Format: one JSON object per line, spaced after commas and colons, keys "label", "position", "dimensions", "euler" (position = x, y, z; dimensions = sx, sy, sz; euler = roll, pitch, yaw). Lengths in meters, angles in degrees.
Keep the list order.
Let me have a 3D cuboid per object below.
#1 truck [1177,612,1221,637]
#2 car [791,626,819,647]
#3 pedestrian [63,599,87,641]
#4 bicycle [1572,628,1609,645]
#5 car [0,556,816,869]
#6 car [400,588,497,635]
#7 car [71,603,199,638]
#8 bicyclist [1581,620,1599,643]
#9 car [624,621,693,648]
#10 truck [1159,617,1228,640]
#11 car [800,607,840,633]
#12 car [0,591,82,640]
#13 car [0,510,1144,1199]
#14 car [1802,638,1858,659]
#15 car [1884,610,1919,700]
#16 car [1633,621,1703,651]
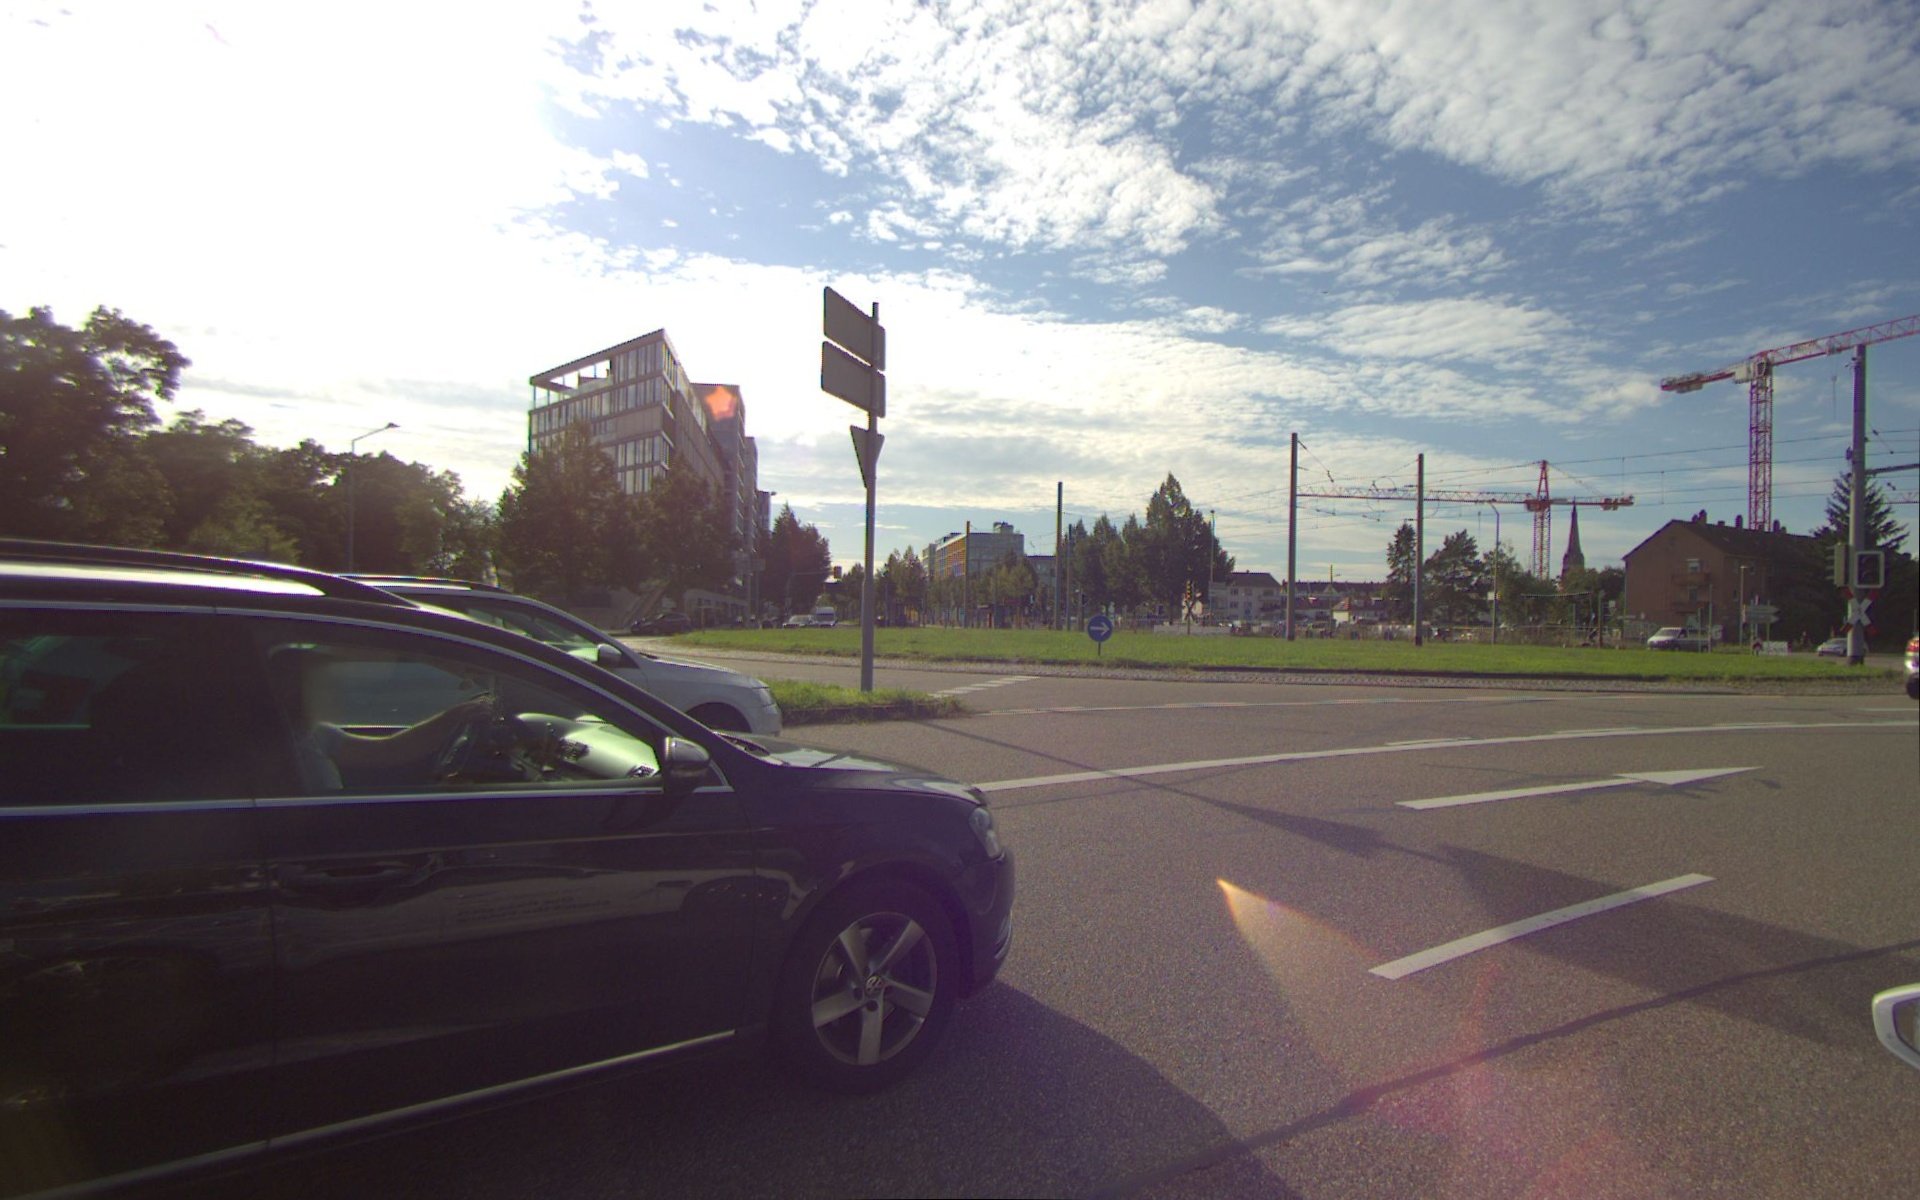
{"label": "truck", "position": [32.732, 3.344, 137.858], "dimensions": [2.769, 3.249, 7.296], "euler": [2, -1, -14]}
{"label": "car", "position": [-11.381, 2.665, 73.882], "dimensions": [1.653, 1.521, 3.993], "euler": [-1, -2, -4]}
{"label": "pedestrian", "position": [-35.097, 0.785, 39.830], "dimensions": [0.498, 1.646, 0.546], "euler": [1, -1, -18]}
{"label": "bicycle", "position": [44.561, 2.580, 71.042], "dimensions": [2.120, 1.152, 0.768], "euler": [-1, -2, 43]}
{"label": "car", "position": [-3.441, 0.586, 6.773], "dimensions": [4.601, 1.464, 1.835], "euler": [3, -1, -40]}
{"label": "car", "position": [-21.319, 0.541, 42.087], "dimensions": [1.652, 1.849, 4.563], "euler": [-1, -2, 2]}
{"label": "car", "position": [-35.965, 0.881, 43.899], "dimensions": [3.946, 1.439, 1.758], "euler": [2, -1, -25]}
{"label": "bicyclist", "position": [44.557, 2.222, 71.055], "dimensions": [0.947, 1.595, 0.768], "euler": [-1, -2, 43]}
{"label": "car", "position": [-17.726, 2.034, 59.261], "dimensions": [1.654, 1.521, 3.990], "euler": [-2, -2, 26]}
{"label": "truck", "position": [28.921, 3.503, 124.457], "dimensions": [7.720, 2.601, 3.069], "euler": [2, -1, -11]}
{"label": "car", "position": [-12.736, 1.859, 91.668], "dimensions": [2.024, 2.293, 6.028], "euler": [-1, -2, 7]}
{"label": "car", "position": [-32.454, 0.475, 34.022], "dimensions": [3.915, 1.521, 1.686], "euler": [3, 0, 1]}
{"label": "car", "position": [-1.820, 0.623, 2.897], "dimensions": [4.803, 1.587, 1.977], "euler": [1, 1, -39]}
{"label": "car", "position": [70.173, 3.922, 80.989], "dimensions": [4.603, 1.564, 1.888], "euler": [2, 0, -28]}
{"label": "car", "position": [19.056, 1.064, 18.299], "dimensions": [4.010, 1.593, 1.763], "euler": [2, 0, -23]}
{"label": "car", "position": [51.279, 2.607, 72.767], "dimensions": [4.592, 1.928, 1.893], "euler": [2, 0, -21]}
